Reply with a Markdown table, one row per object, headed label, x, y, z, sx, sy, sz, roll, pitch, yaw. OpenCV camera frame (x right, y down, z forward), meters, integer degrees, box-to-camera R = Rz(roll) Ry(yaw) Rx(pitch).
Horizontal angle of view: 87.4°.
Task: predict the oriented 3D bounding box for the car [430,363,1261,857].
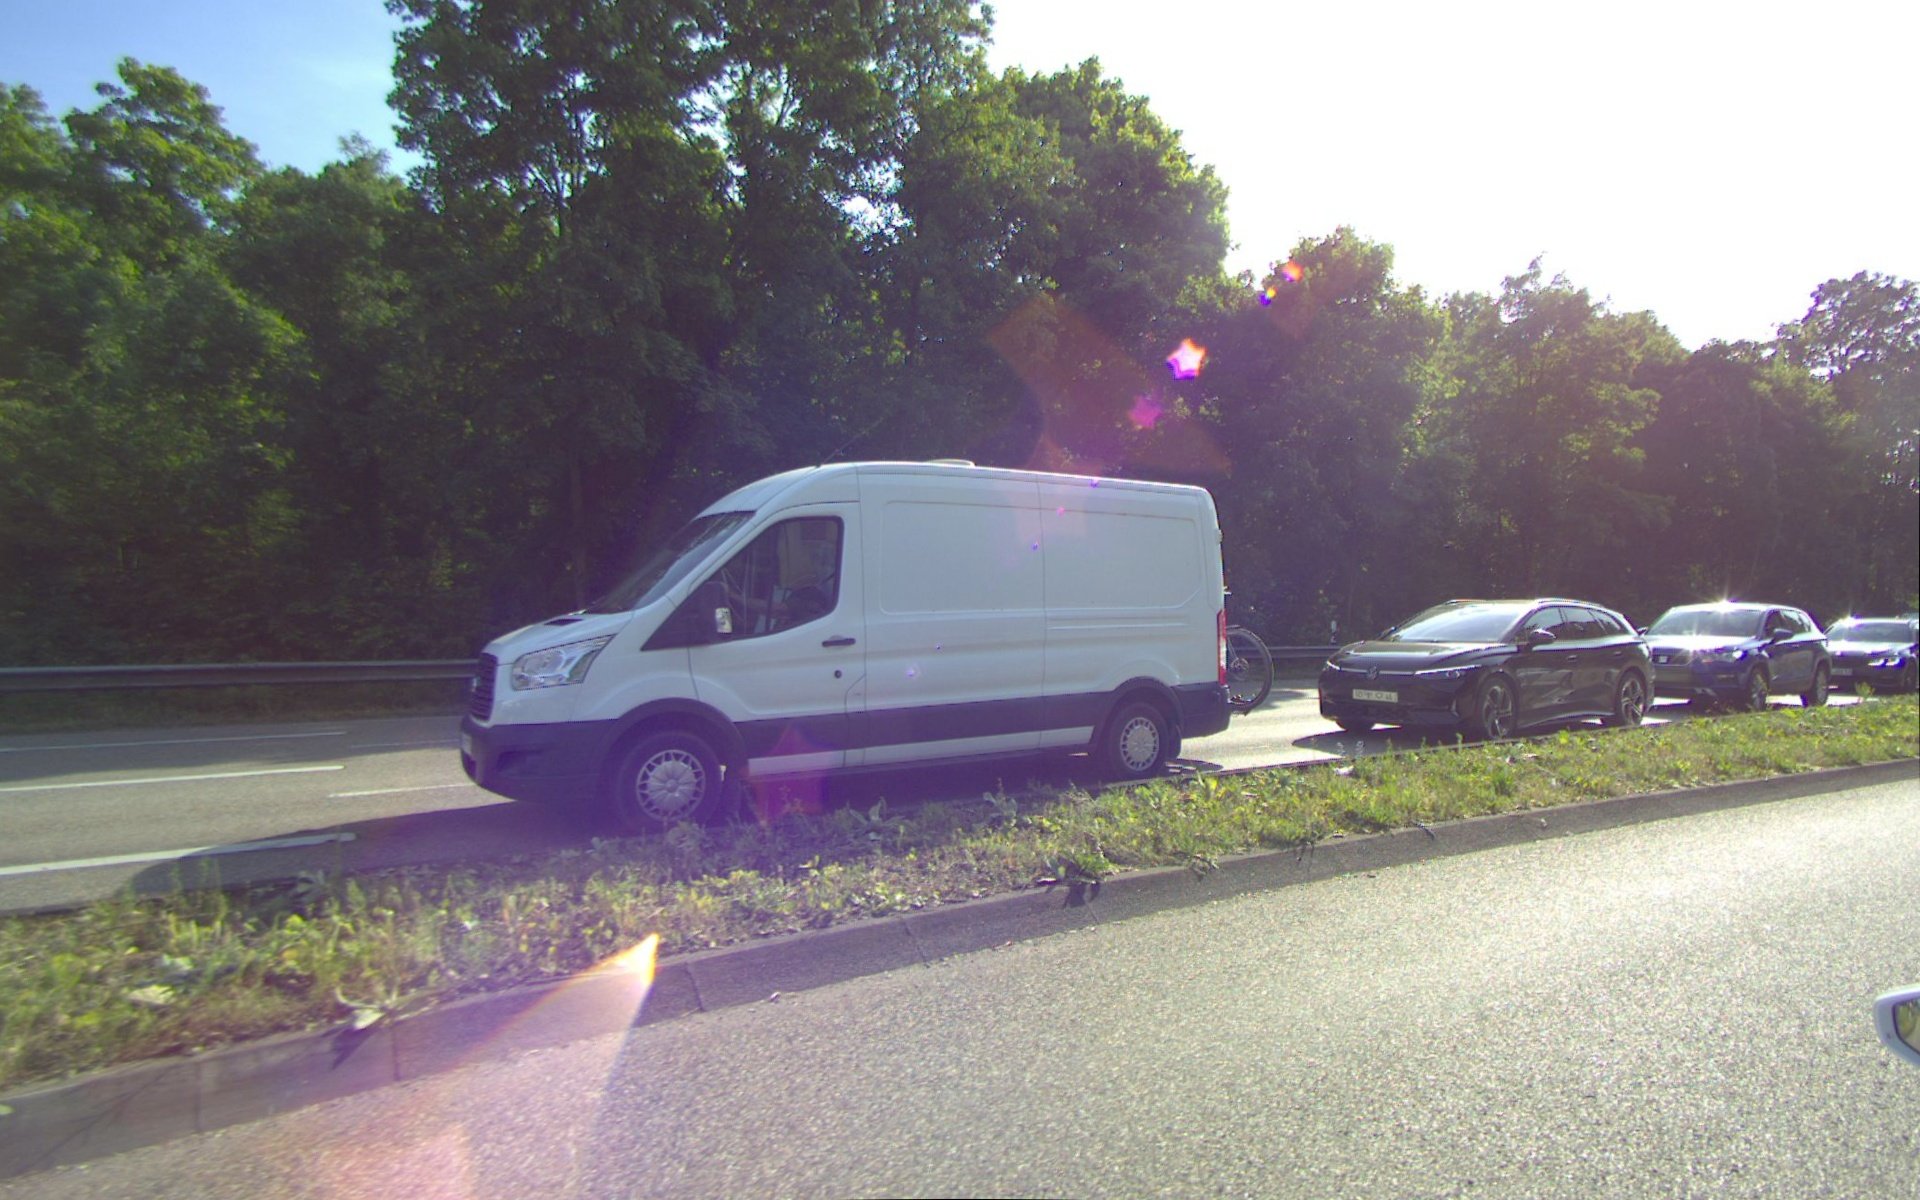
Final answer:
| label | x | y | z | sx | sy | sz | roll | pitch | yaw |
| --- | --- | --- | --- | --- | --- | --- | --- | --- | --- |
| car | -0.573 | 0.089 | 7.733 | 6.095 | 2.567 | 2.064 | 0 | -1 | -32 |

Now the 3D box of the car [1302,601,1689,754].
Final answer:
| label | x | y | z | sx | sy | sz | roll | pitch | yaw |
| --- | --- | --- | --- | --- | --- | --- | --- | --- | --- |
| car | 6.456 | 0.787 | 11.878 | 5.128 | 1.476 | 1.750 | 0 | -1 | -32 |

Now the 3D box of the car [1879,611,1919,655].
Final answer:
| label | x | y | z | sx | sy | sz | roll | pitch | yaw |
| --- | --- | --- | --- | --- | --- | --- | --- | --- | --- |
| car | 32.817 | 1.104 | 34.049 | 3.578 | 1.402 | 1.537 | 0 | -3 | -32 |

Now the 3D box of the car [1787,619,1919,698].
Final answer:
| label | x | y | z | sx | sy | sz | roll | pitch | yaw |
| --- | --- | --- | --- | --- | --- | --- | --- | --- | --- |
| car | 18.596 | 1.094 | 20.108 | 4.790 | 1.398 | 1.761 | 0 | -1 | -32 |

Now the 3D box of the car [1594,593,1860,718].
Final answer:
| label | x | y | z | sx | sy | sz | roll | pitch | yaw |
| --- | --- | --- | --- | --- | --- | --- | --- | --- | --- |
| car | 12.027 | 0.789 | 15.659 | 4.747 | 1.691 | 1.761 | 0 | -1 | -32 |

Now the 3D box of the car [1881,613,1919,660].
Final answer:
| label | x | y | z | sx | sy | sz | roll | pitch | yaw |
| --- | --- | --- | --- | --- | --- | --- | --- | --- | --- |
| car | 42.534 | 1.555 | 43.954 | 5.045 | 1.960 | 2.001 | 0 | -3 | -32 |

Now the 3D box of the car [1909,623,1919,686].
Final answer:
| label | x | y | z | sx | sy | sz | roll | pitch | yaw |
| --- | --- | --- | --- | --- | --- | --- | --- | --- | --- |
| car | 24.535 | 1.263 | 23.815 | 5.135 | 1.442 | 1.761 | 0 | -1 | -32 |
